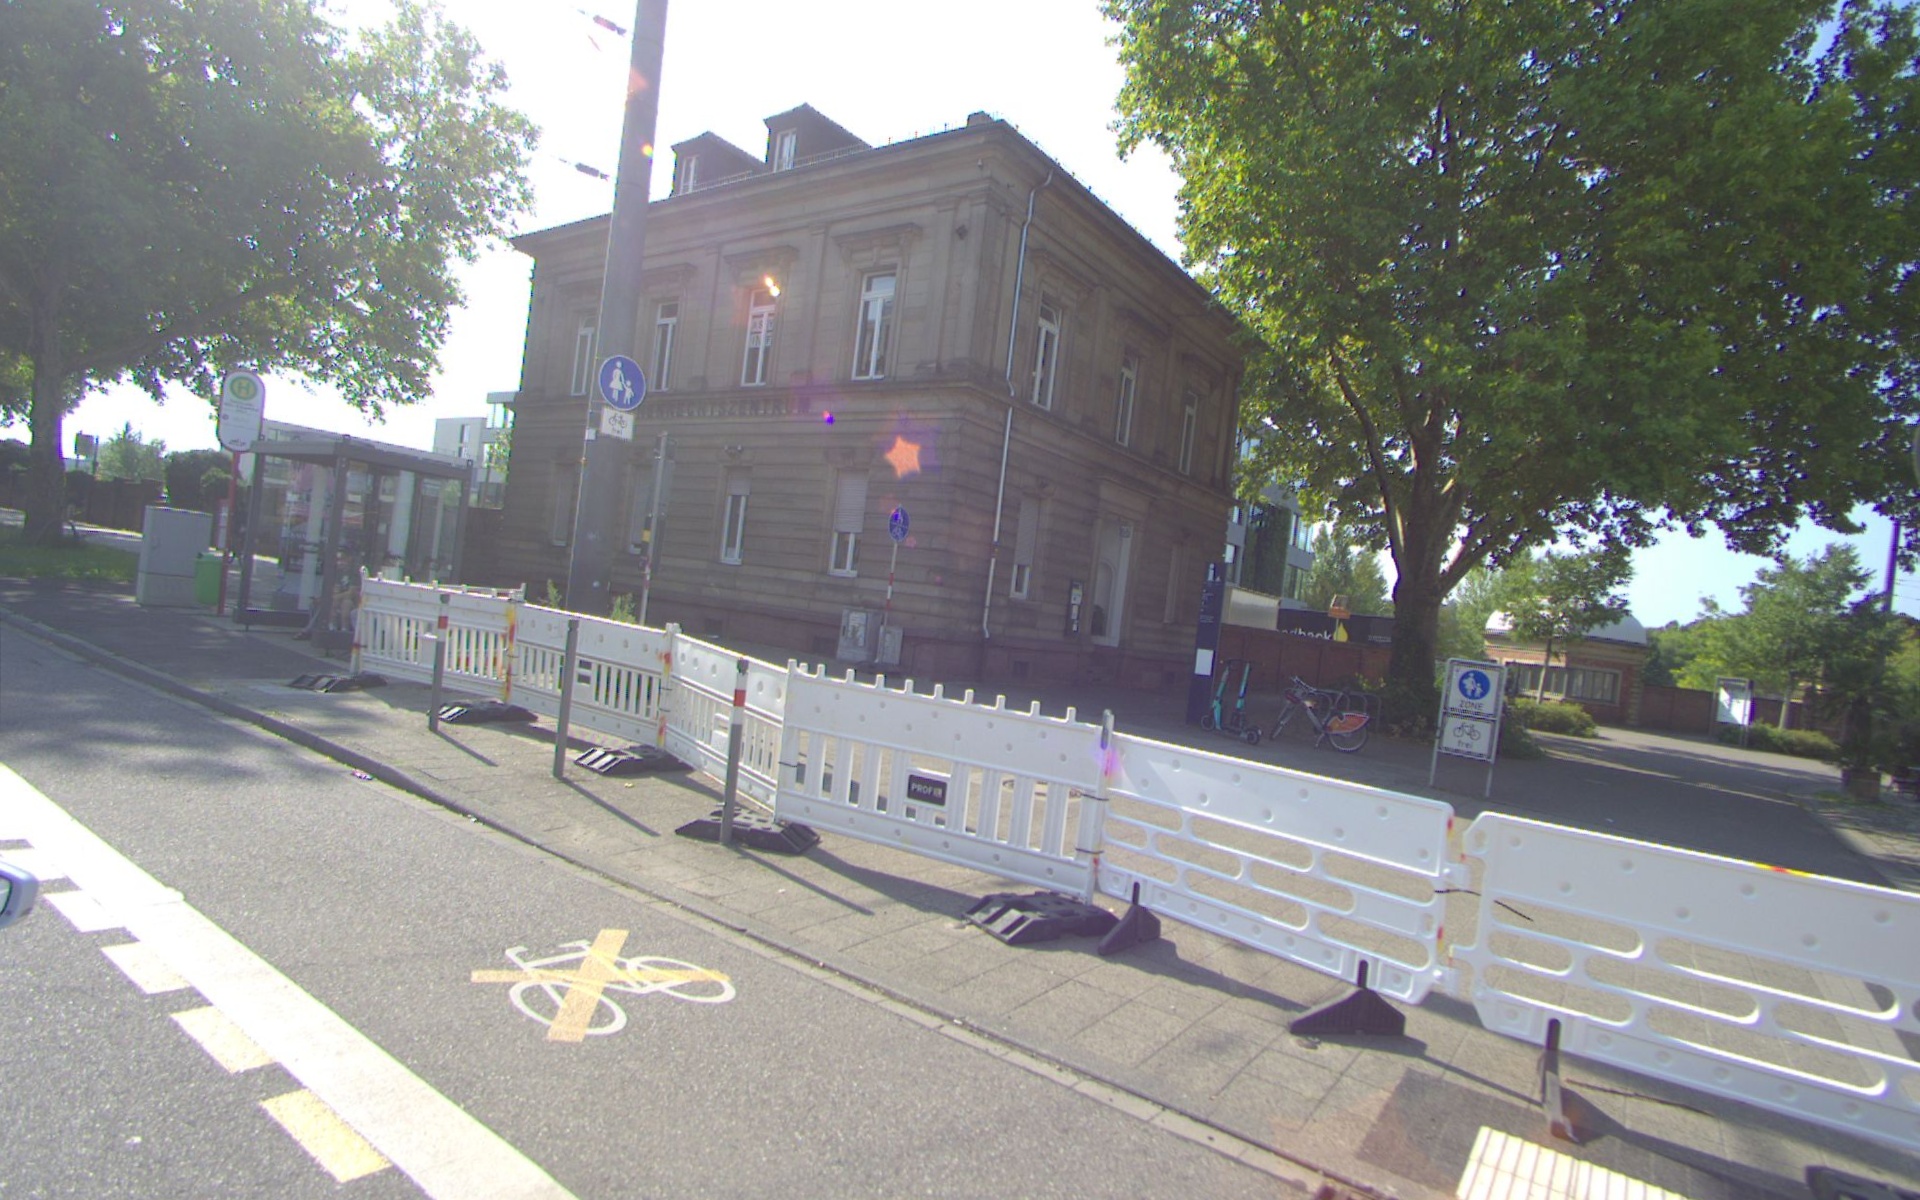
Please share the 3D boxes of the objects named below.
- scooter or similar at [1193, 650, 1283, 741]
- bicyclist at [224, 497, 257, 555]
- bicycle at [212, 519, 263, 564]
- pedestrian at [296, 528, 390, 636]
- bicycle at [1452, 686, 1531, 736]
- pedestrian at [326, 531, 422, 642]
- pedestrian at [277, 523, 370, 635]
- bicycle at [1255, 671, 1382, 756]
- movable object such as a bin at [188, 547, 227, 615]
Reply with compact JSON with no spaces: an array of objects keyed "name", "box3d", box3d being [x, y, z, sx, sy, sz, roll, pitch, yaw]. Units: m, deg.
[{"name":"scooter or similar","box3d":[4.334,1.476,15.726,1.157,1.244,0.424,8,1,44]},{"name":"bicyclist","box3d":[-20.308,-2.088,28.402,0.586,1.559,0.469,8,1,34]},{"name":"bicycle","box3d":[-20.449,-1.665,28.466,1.827,1.102,0.491,7,1,34]},{"name":"pedestrian","box3d":[-7.986,-0.227,13.028,0.602,1.276,0.741,6,-1,36]},{"name":"bicycle","box3d":[15.008,3.129,28.444,1.827,1.102,0.491,7,1,34]},{"name":"pedestrian","box3d":[-7.336,-0.160,12.600,0.602,1.276,0.741,6,-1,36]},{"name":"pedestrian","box3d":[-8.496,-0.276,13.442,0.602,1.382,0.751,6,-1,36]},{"name":"bicycle","box3d":[5.785,1.823,16.317,1.784,1.012,0.493,10,2,18]},{"name":"movable object such as a bin","box3d":[-10.886,-0.280,14.550,0.380,0.927,0.271,8,1,35]}]
